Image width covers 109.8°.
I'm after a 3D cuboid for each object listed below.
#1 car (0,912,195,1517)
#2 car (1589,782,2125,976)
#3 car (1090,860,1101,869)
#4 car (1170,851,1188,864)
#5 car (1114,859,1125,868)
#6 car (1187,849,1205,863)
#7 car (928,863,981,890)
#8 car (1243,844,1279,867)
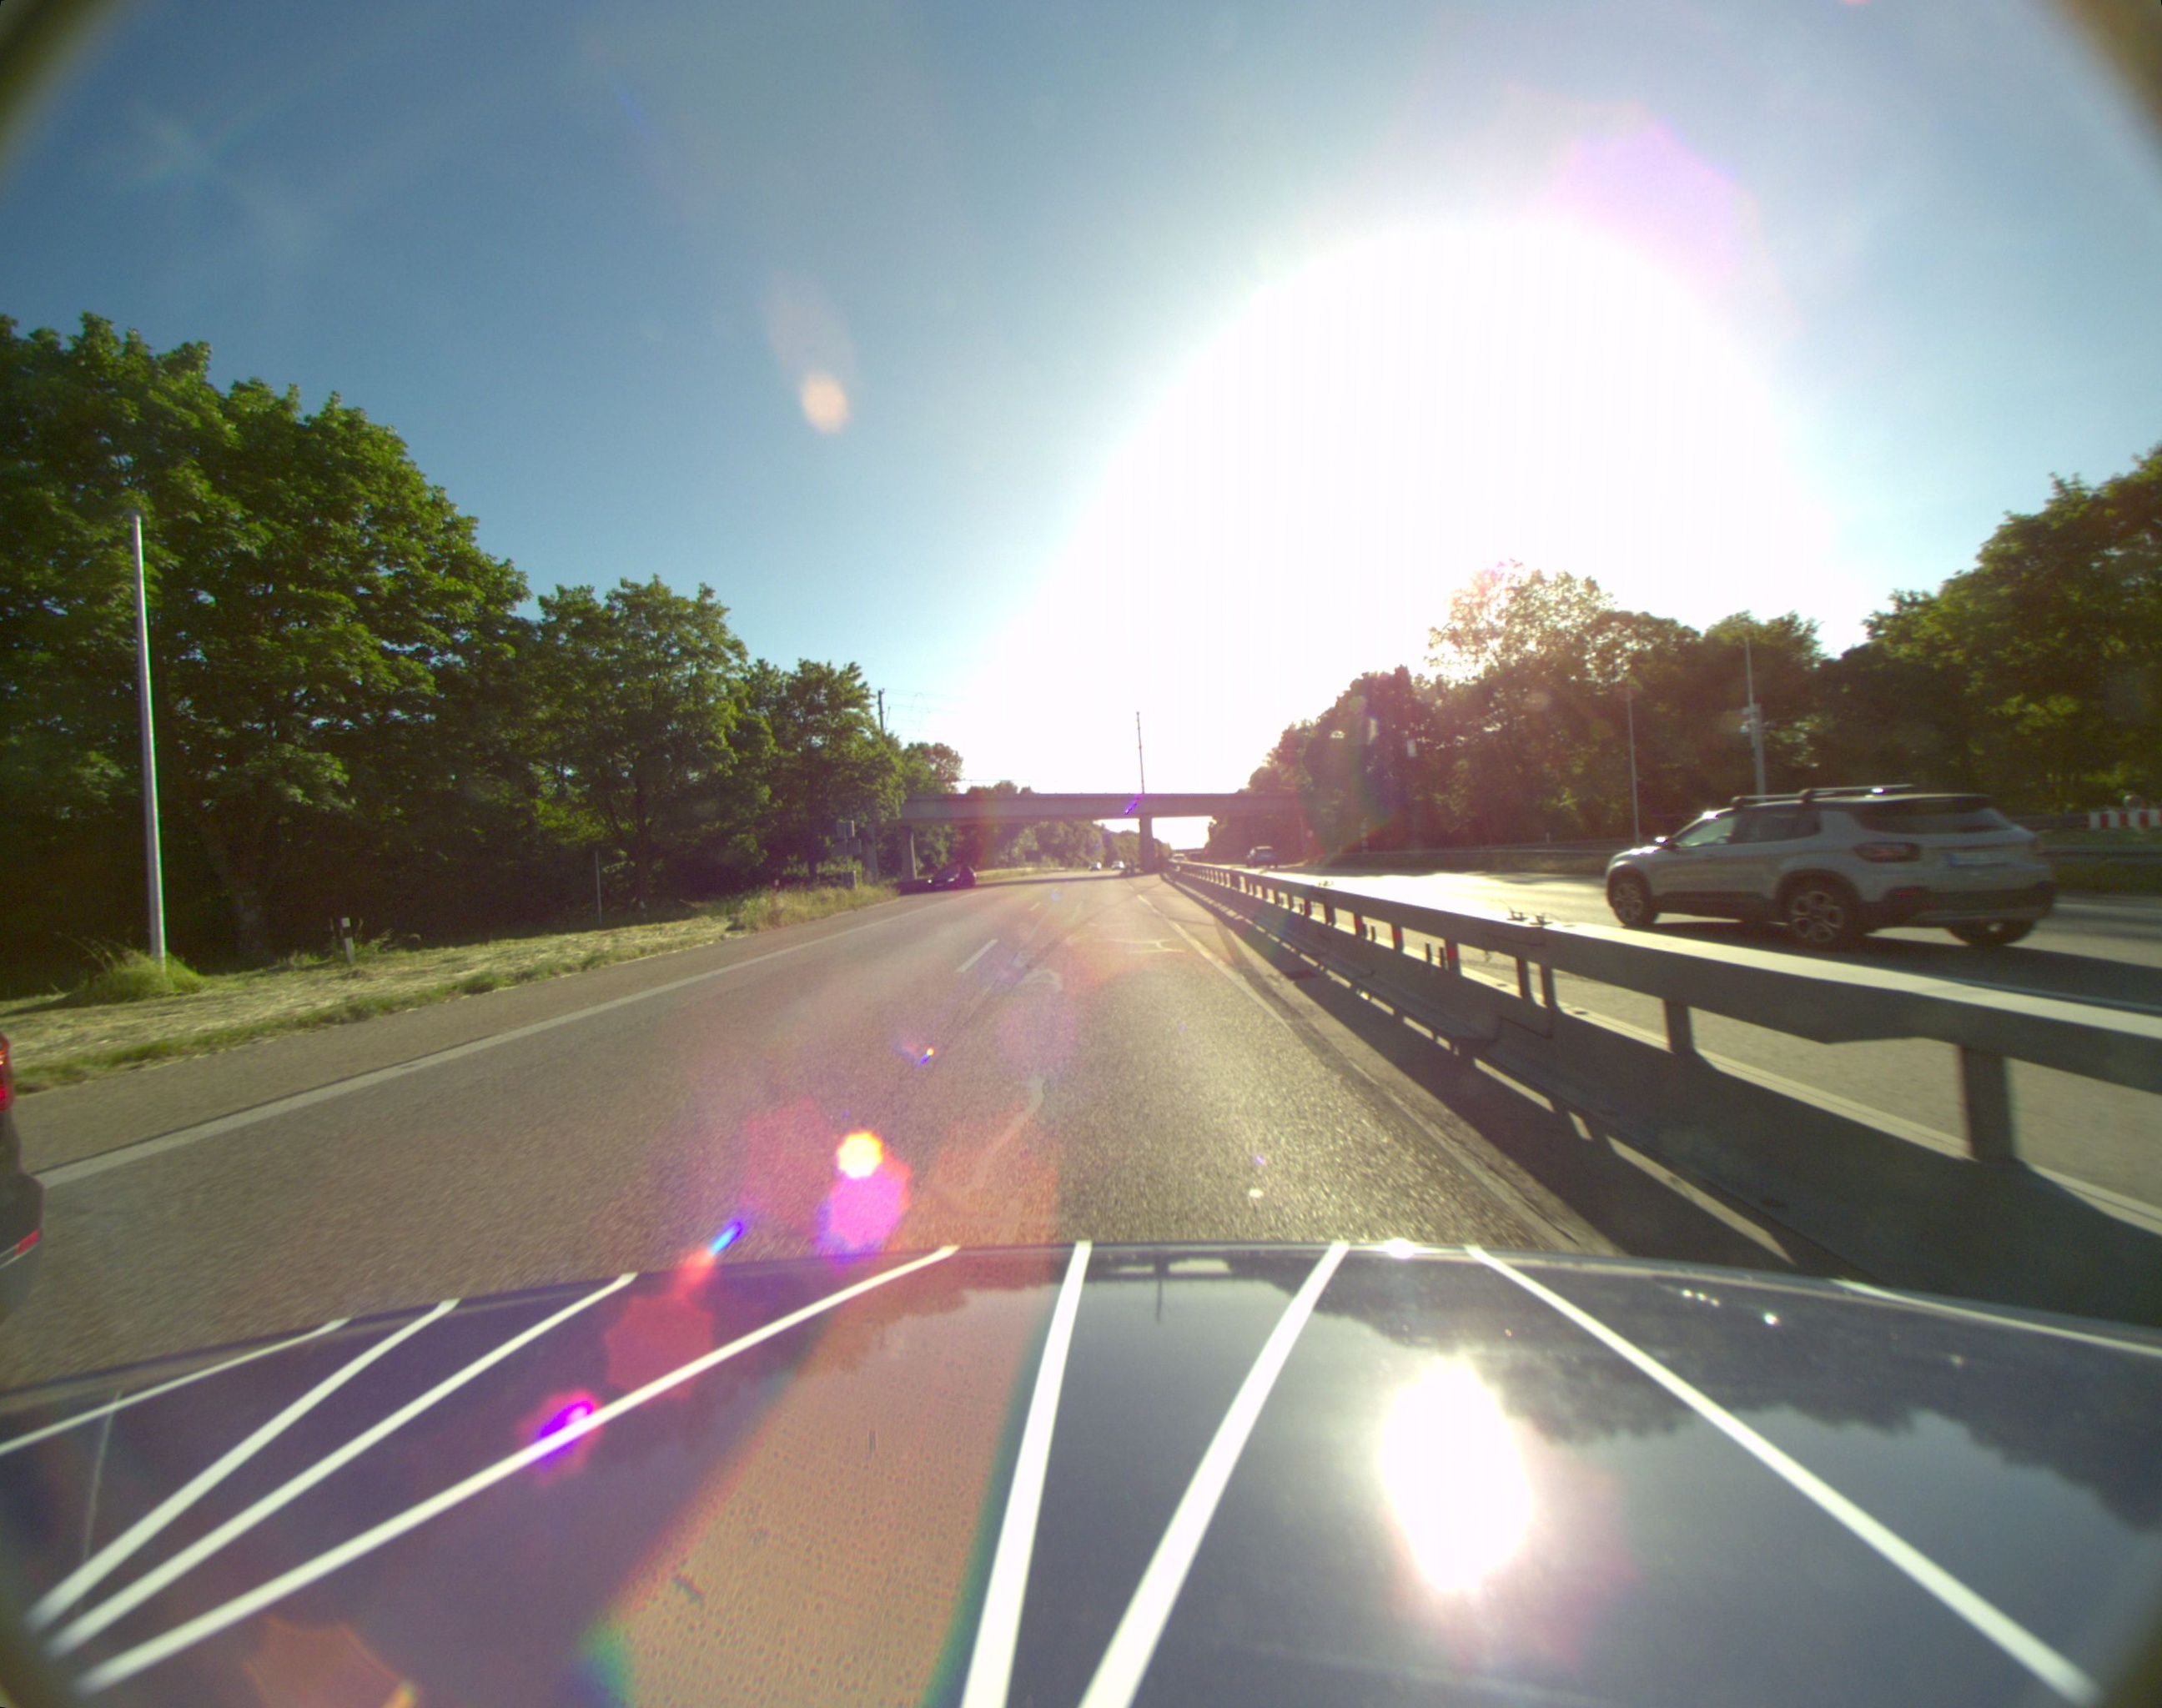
[{"bbox_3d":[-3.753,0.985,0.172,1.760,1.563,4.521,-2,0,0],"label":"car"},{"bbox_3d":[7.987,0.210,8.533,1.720,1.566,4.163,-3,0,0],"label":"car"},{"bbox_3d":[2.467,1.846,128.979,1.682,1.412,3.670,-3,0,2],"label":"car"},{"bbox_3d":[12.487,0.469,97.194,1.791,1.569,4.533,-2,0,2],"label":"car"},{"bbox_3d":[6.486,1.614,128.752,1.725,1.412,3.670,-3,0,0],"label":"car"},{"bbox_3d":[16.723,0.251,110.780,1.998,1.899,5.522,-3,0,2],"label":"car"},{"bbox_3d":[-7.841,1.360,47.396,1.762,1.401,4.059,-6,-1,12],"label":"car"},{"bbox_3d":[13.554,0.115,57.398,1.676,1.563,4.321,-2,0,1],"label":"car"}]
